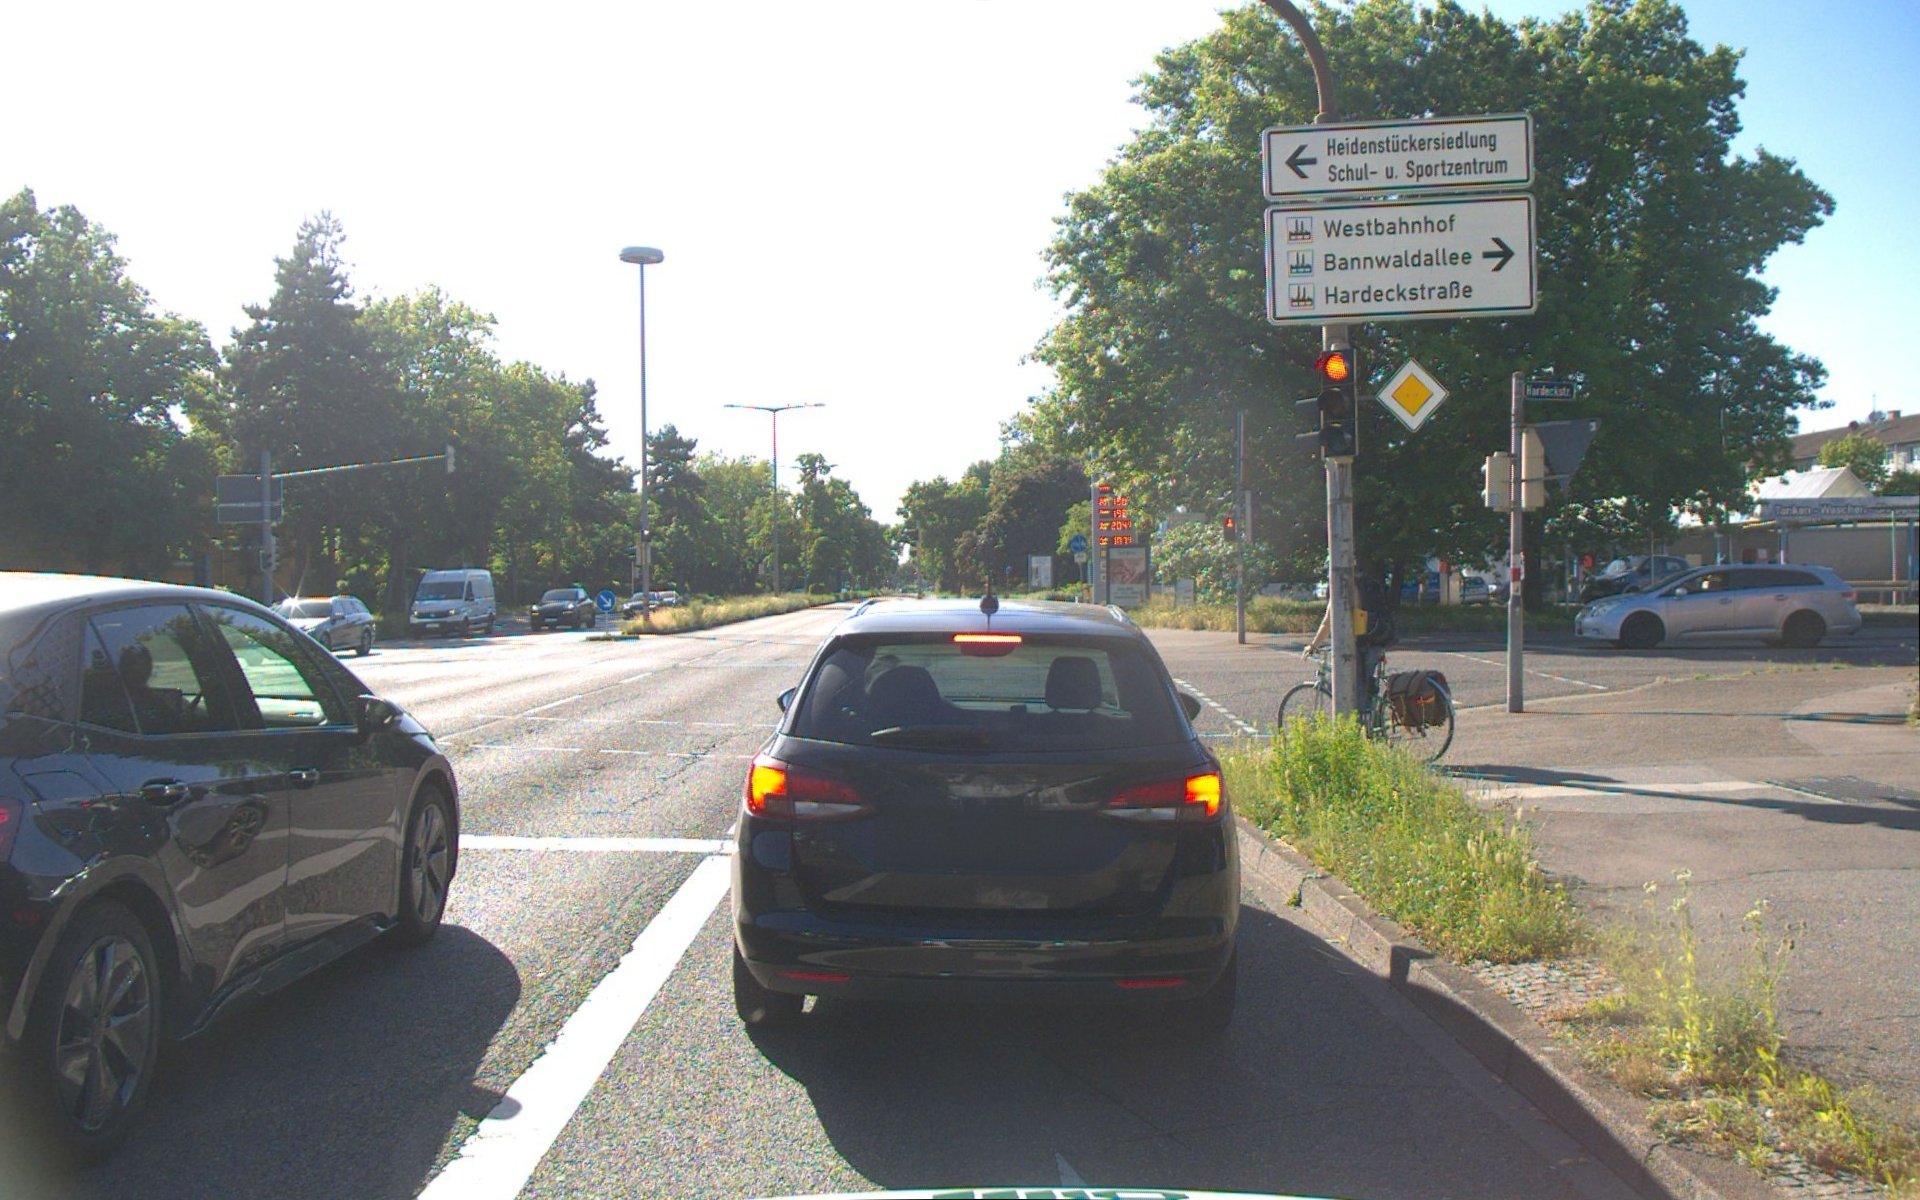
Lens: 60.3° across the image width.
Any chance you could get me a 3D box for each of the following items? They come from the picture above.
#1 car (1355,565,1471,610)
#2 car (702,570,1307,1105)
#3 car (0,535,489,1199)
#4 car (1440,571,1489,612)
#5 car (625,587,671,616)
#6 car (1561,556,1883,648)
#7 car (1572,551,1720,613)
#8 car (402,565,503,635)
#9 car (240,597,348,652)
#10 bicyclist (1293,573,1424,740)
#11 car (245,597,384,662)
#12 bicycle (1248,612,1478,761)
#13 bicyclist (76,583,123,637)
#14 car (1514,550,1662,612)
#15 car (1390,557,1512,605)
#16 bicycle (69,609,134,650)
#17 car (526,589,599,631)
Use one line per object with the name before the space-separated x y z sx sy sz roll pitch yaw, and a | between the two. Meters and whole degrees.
car | 16.436 -0.463 60.058 3.837 1.544 1.732 -2 0 -24
car | 0.103 0.684 6.836 1.721 1.521 4.206 0 0 -1
car | -2.998 0.658 5.605 1.650 1.608 4.206 0 0 -1
car | 22.315 -0.395 73.264 1.702 1.709 4.004 -1 0 12
car | -16.886 0.080 89.682 1.740 1.488 4.164 -1 0 -1
car | 13.541 0.033 29.702 4.897 1.512 2.002 -1 0 11
car | 19.992 -0.531 48.194 3.934 1.709 1.732 -2 0 -24
car | -19.563 -0.025 64.037 2.057 2.536 6.003 -1 0 -1
car | -19.999 0.706 49.804 1.652 1.535 4.003 -1 0 -1
bicyclist | 3.220 0.454 13.372 0.534 1.299 0.816 -2 -2 -44
car | -15.900 0.691 40.975 1.652 1.458 4.614 -1 0 -1
bicycle | 3.227 0.701 13.370 0.533 1.117 1.748 -2 -2 -44
bicyclist | -27.426 0.308 52.754 0.858 1.677 1.199 -2 0 -3
car | 18.986 -0.579 50.020 3.935 1.780 1.985 -1 1 -24
car | 16.913 -0.650 56.983 3.837 1.544 1.732 -2 0 -24
bicycle | -27.381 0.916 52.803 0.858 1.233 2.534 -2 0 -4
car | -16.461 0.382 68.731 1.953 1.629 4.615 -1 0 -1
